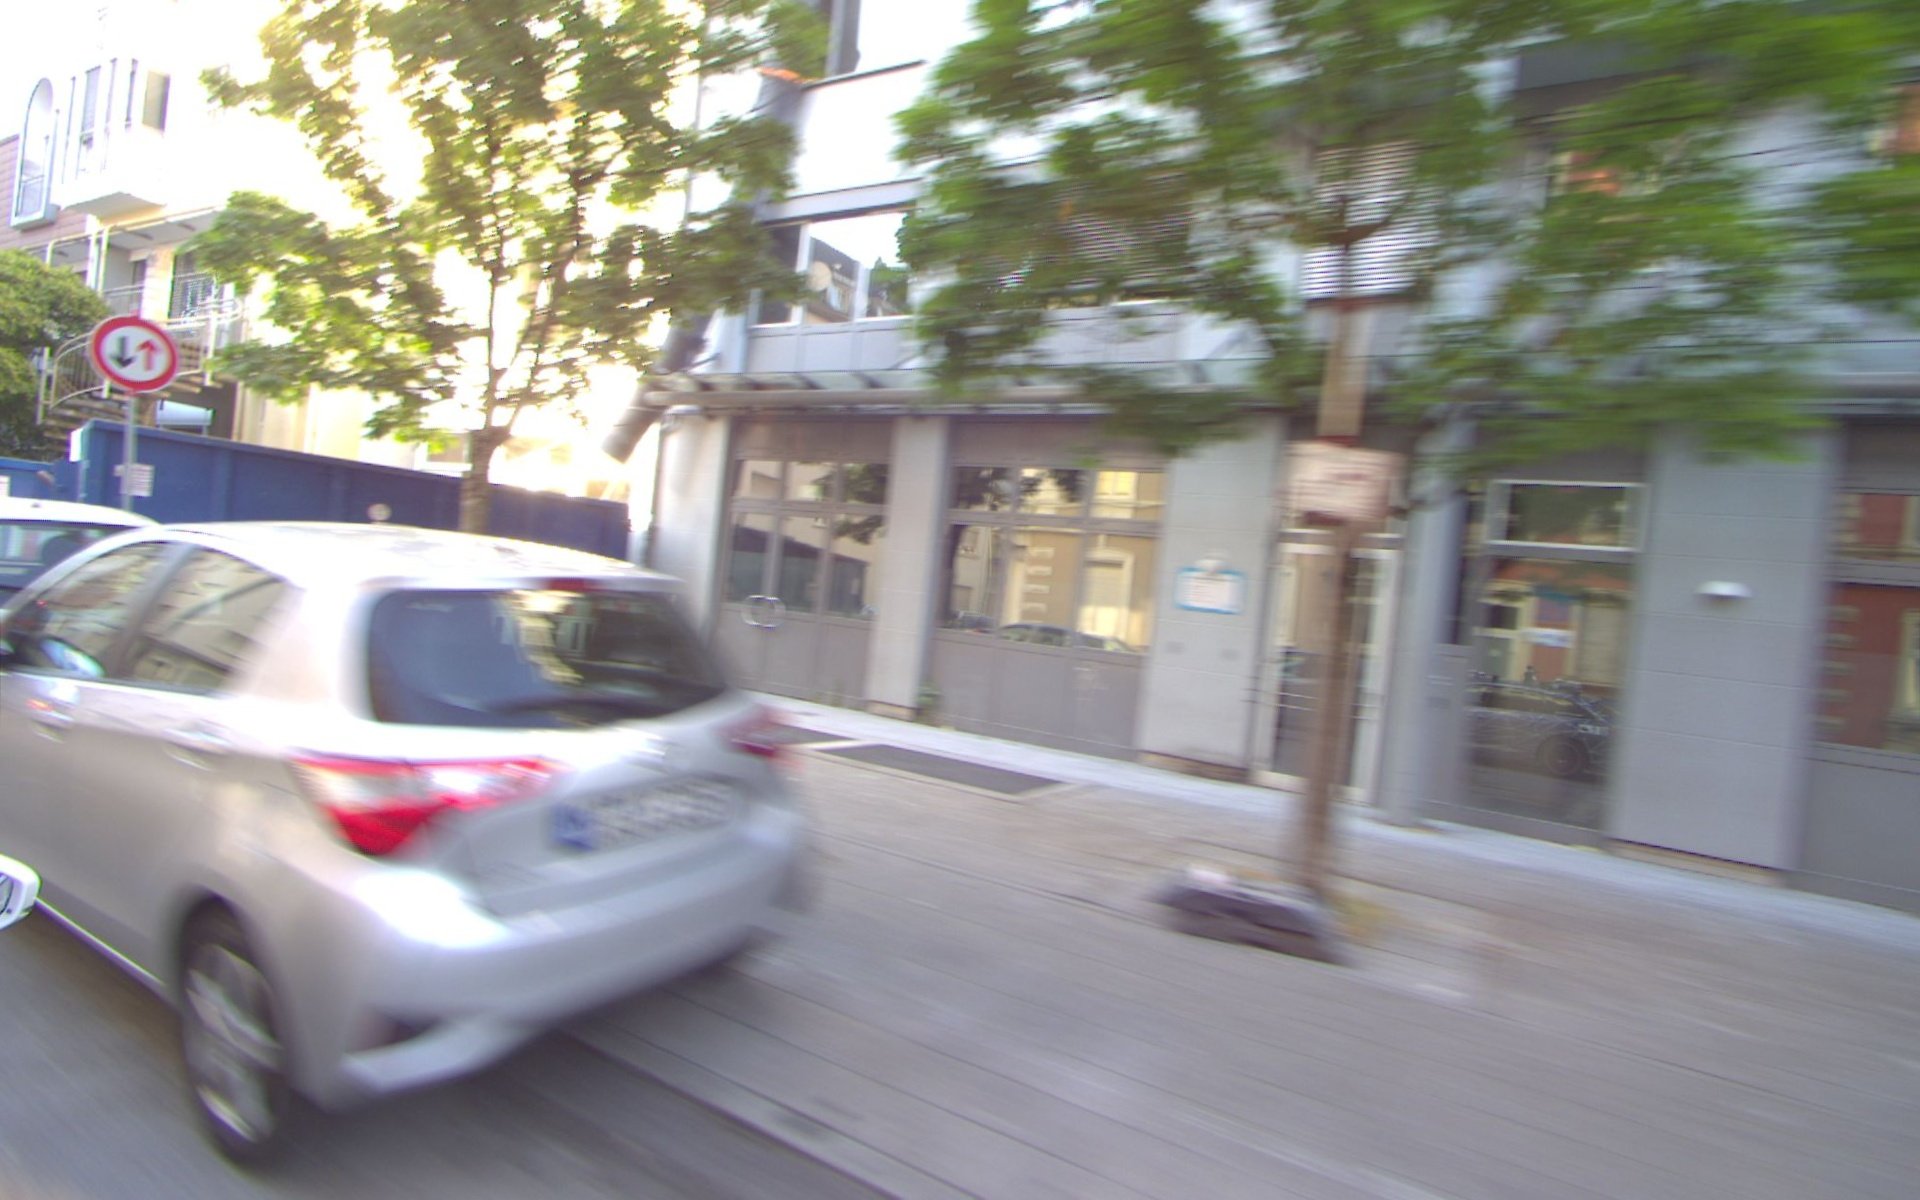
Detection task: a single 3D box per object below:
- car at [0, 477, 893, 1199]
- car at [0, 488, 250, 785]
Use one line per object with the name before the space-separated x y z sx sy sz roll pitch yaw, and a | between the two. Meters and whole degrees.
car | -2.369 0.458 3.657 3.905 1.544 1.677 6 1 32
car | -6.210 0.044 6.256 3.670 1.495 1.676 6 1 34
